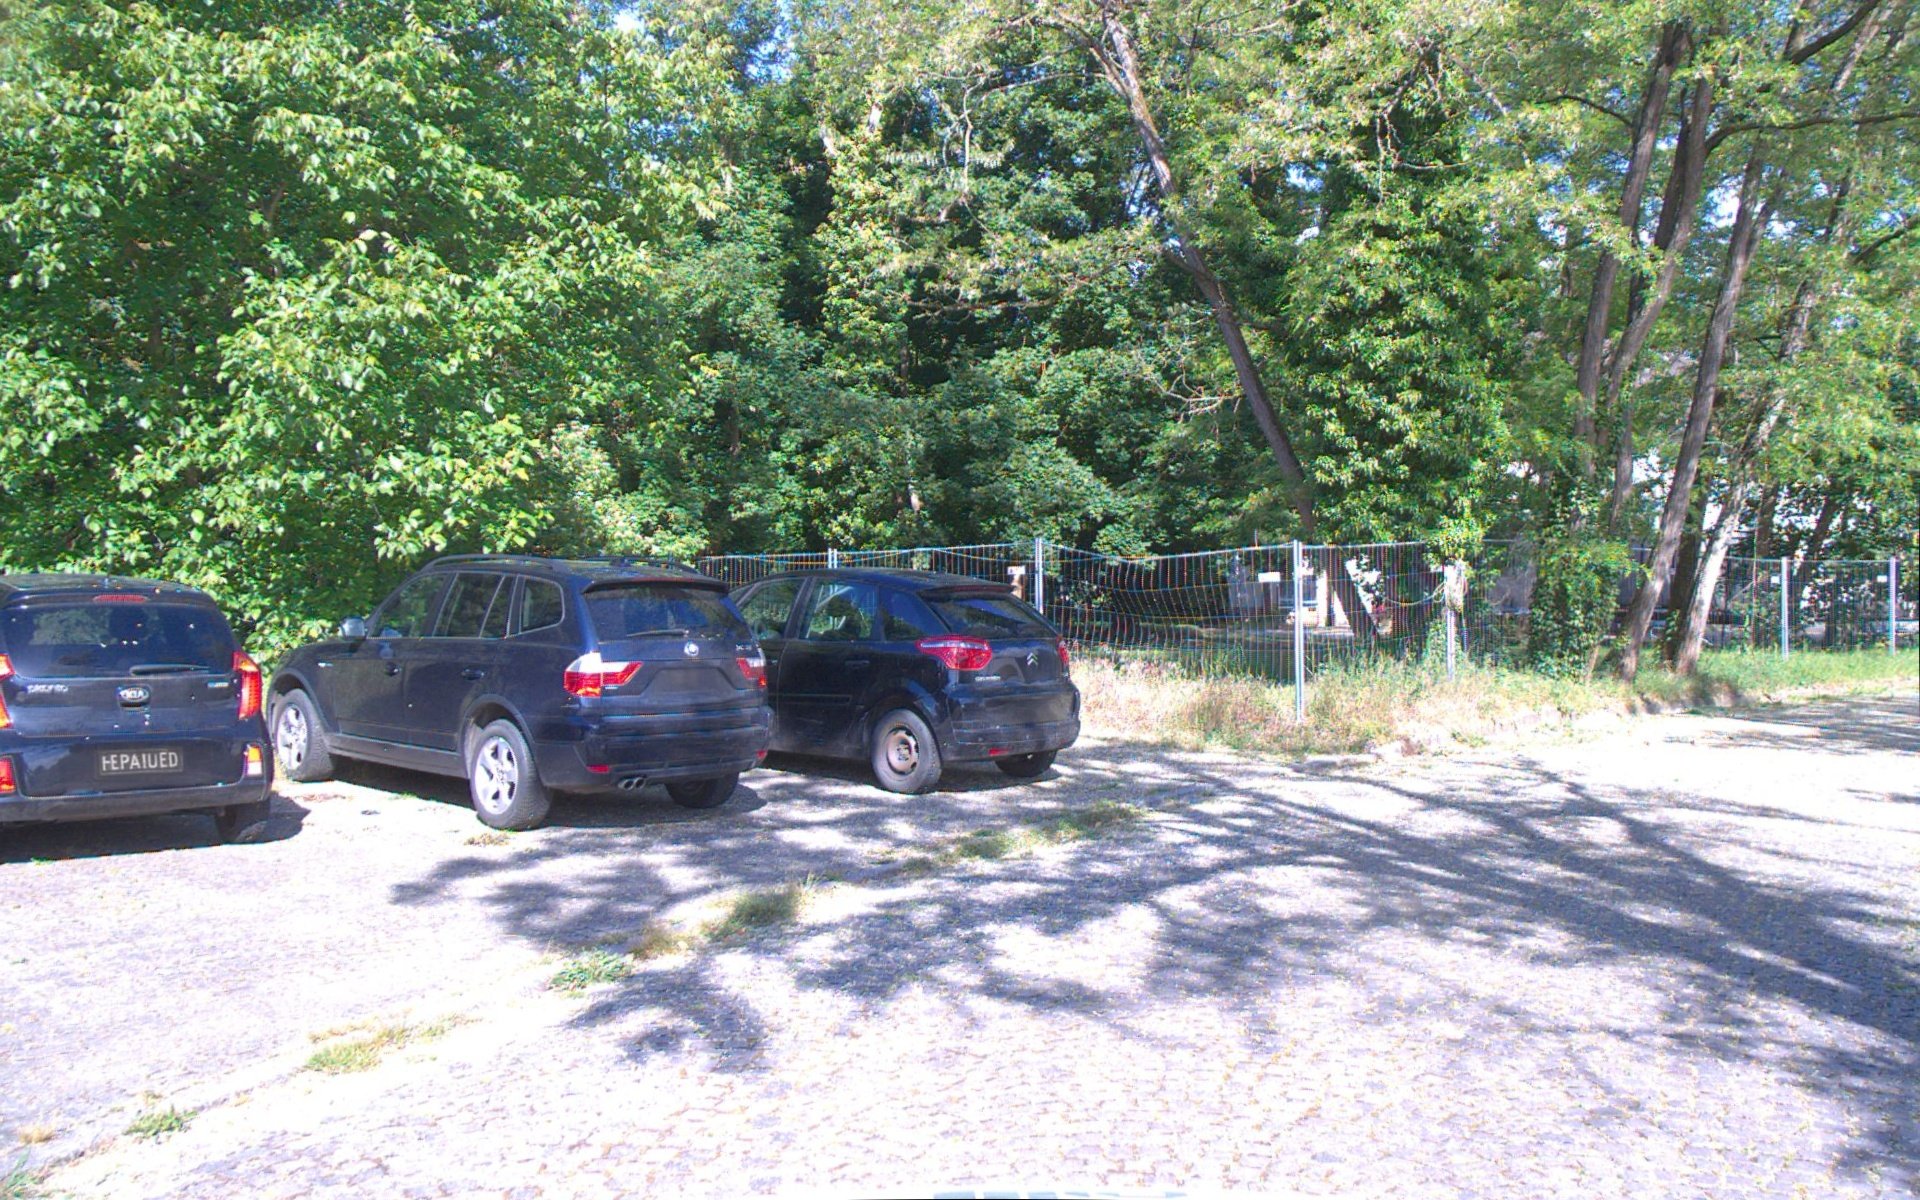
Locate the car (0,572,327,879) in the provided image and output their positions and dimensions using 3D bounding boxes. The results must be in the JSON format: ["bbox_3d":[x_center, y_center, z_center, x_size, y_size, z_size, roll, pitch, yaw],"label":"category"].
[{"bbox_3d":[-5.356,0.590,9.946,1.729,1.476,3.669,1,1,-41],"label":"car"}]

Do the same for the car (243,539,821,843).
[{"bbox_3d":[-3.124,0.482,11.615,4.196,1.659,1.870,4,2,41],"label":"car"}]

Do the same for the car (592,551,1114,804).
[{"bbox_3d":[-0.994,0.504,13.805,4.193,1.616,1.821,5,3,39],"label":"car"}]
